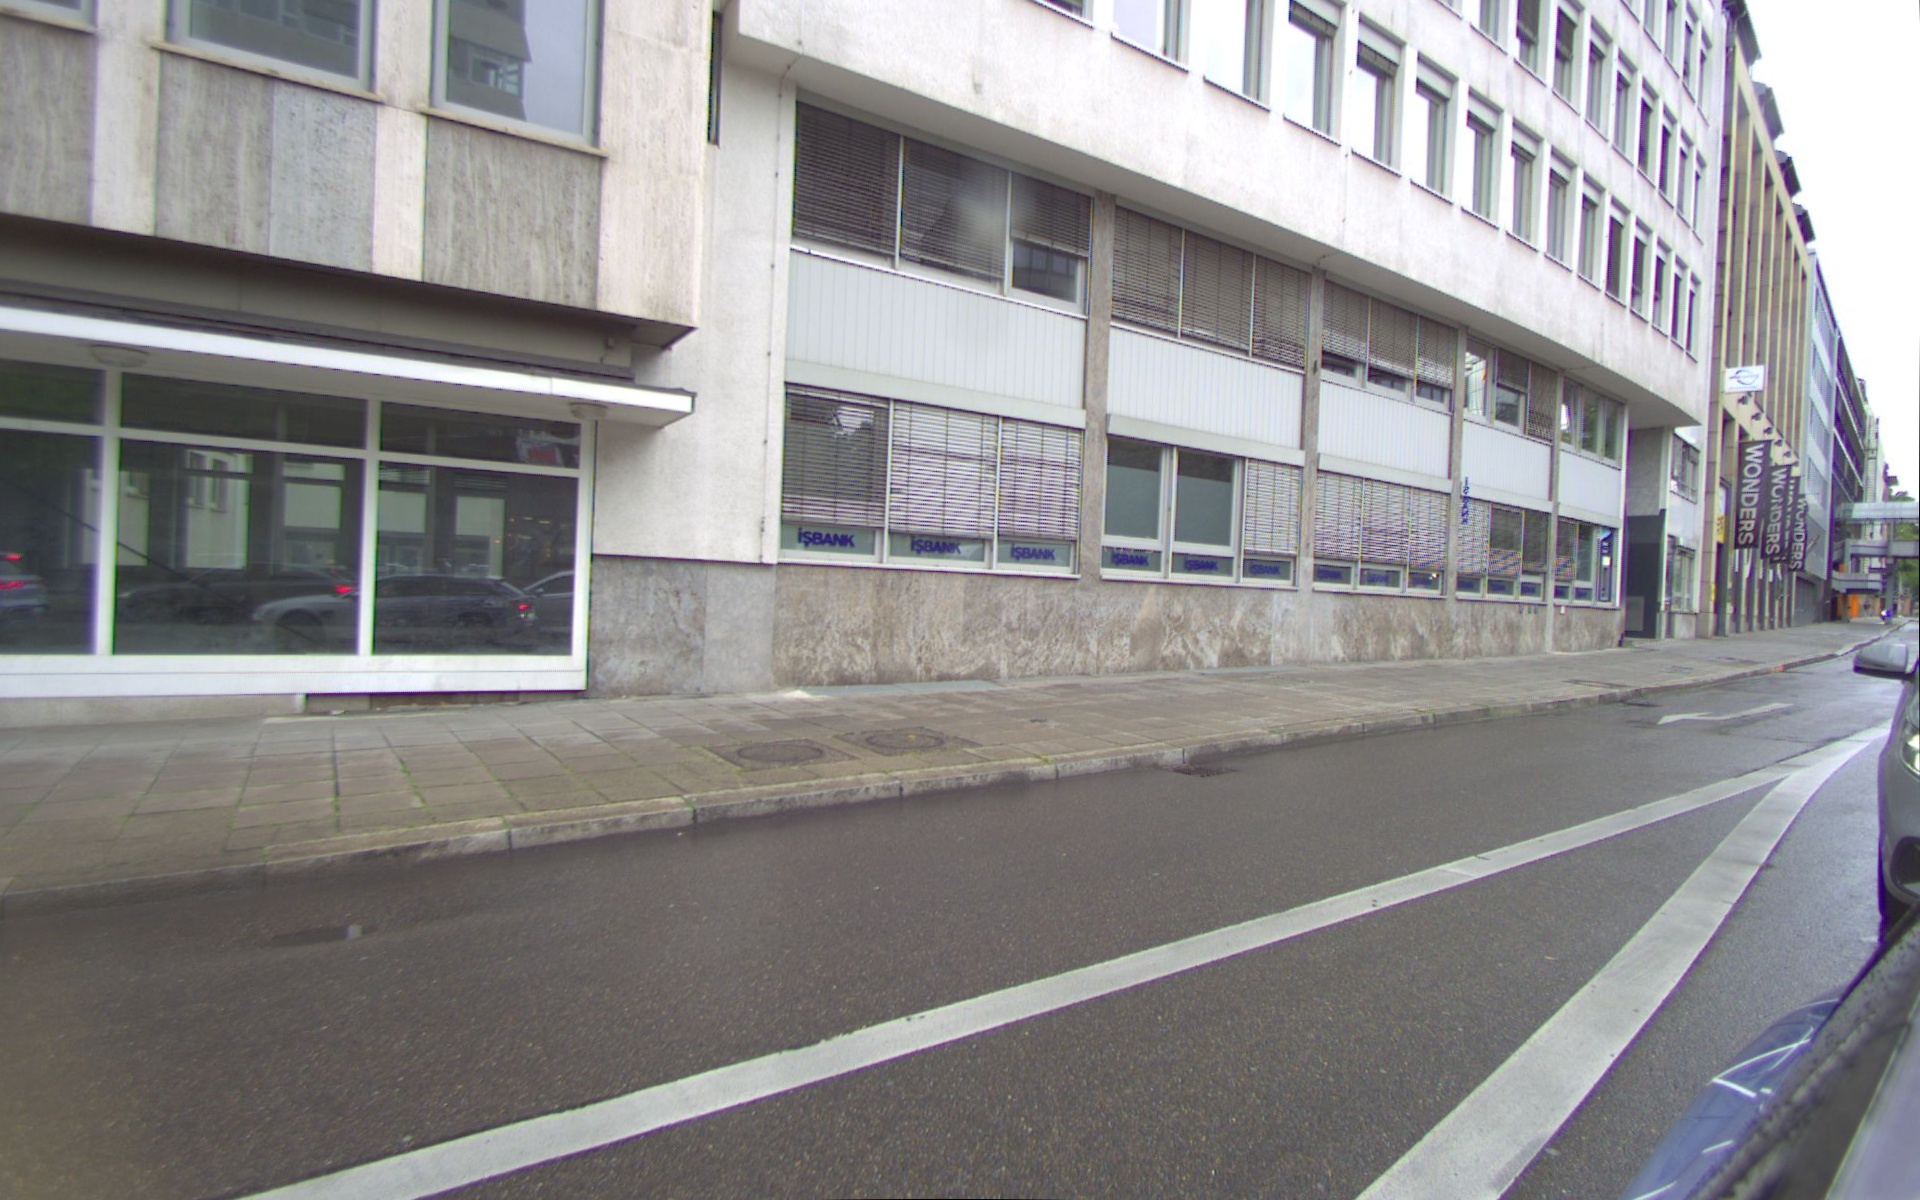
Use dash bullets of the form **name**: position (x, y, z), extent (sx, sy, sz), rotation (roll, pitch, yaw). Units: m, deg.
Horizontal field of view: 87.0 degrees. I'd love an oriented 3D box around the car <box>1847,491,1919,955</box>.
- **car**: position (6.201, 0.512, 5.210), extent (4.940, 1.879, 1.914), rotation (0, 0, -42)
